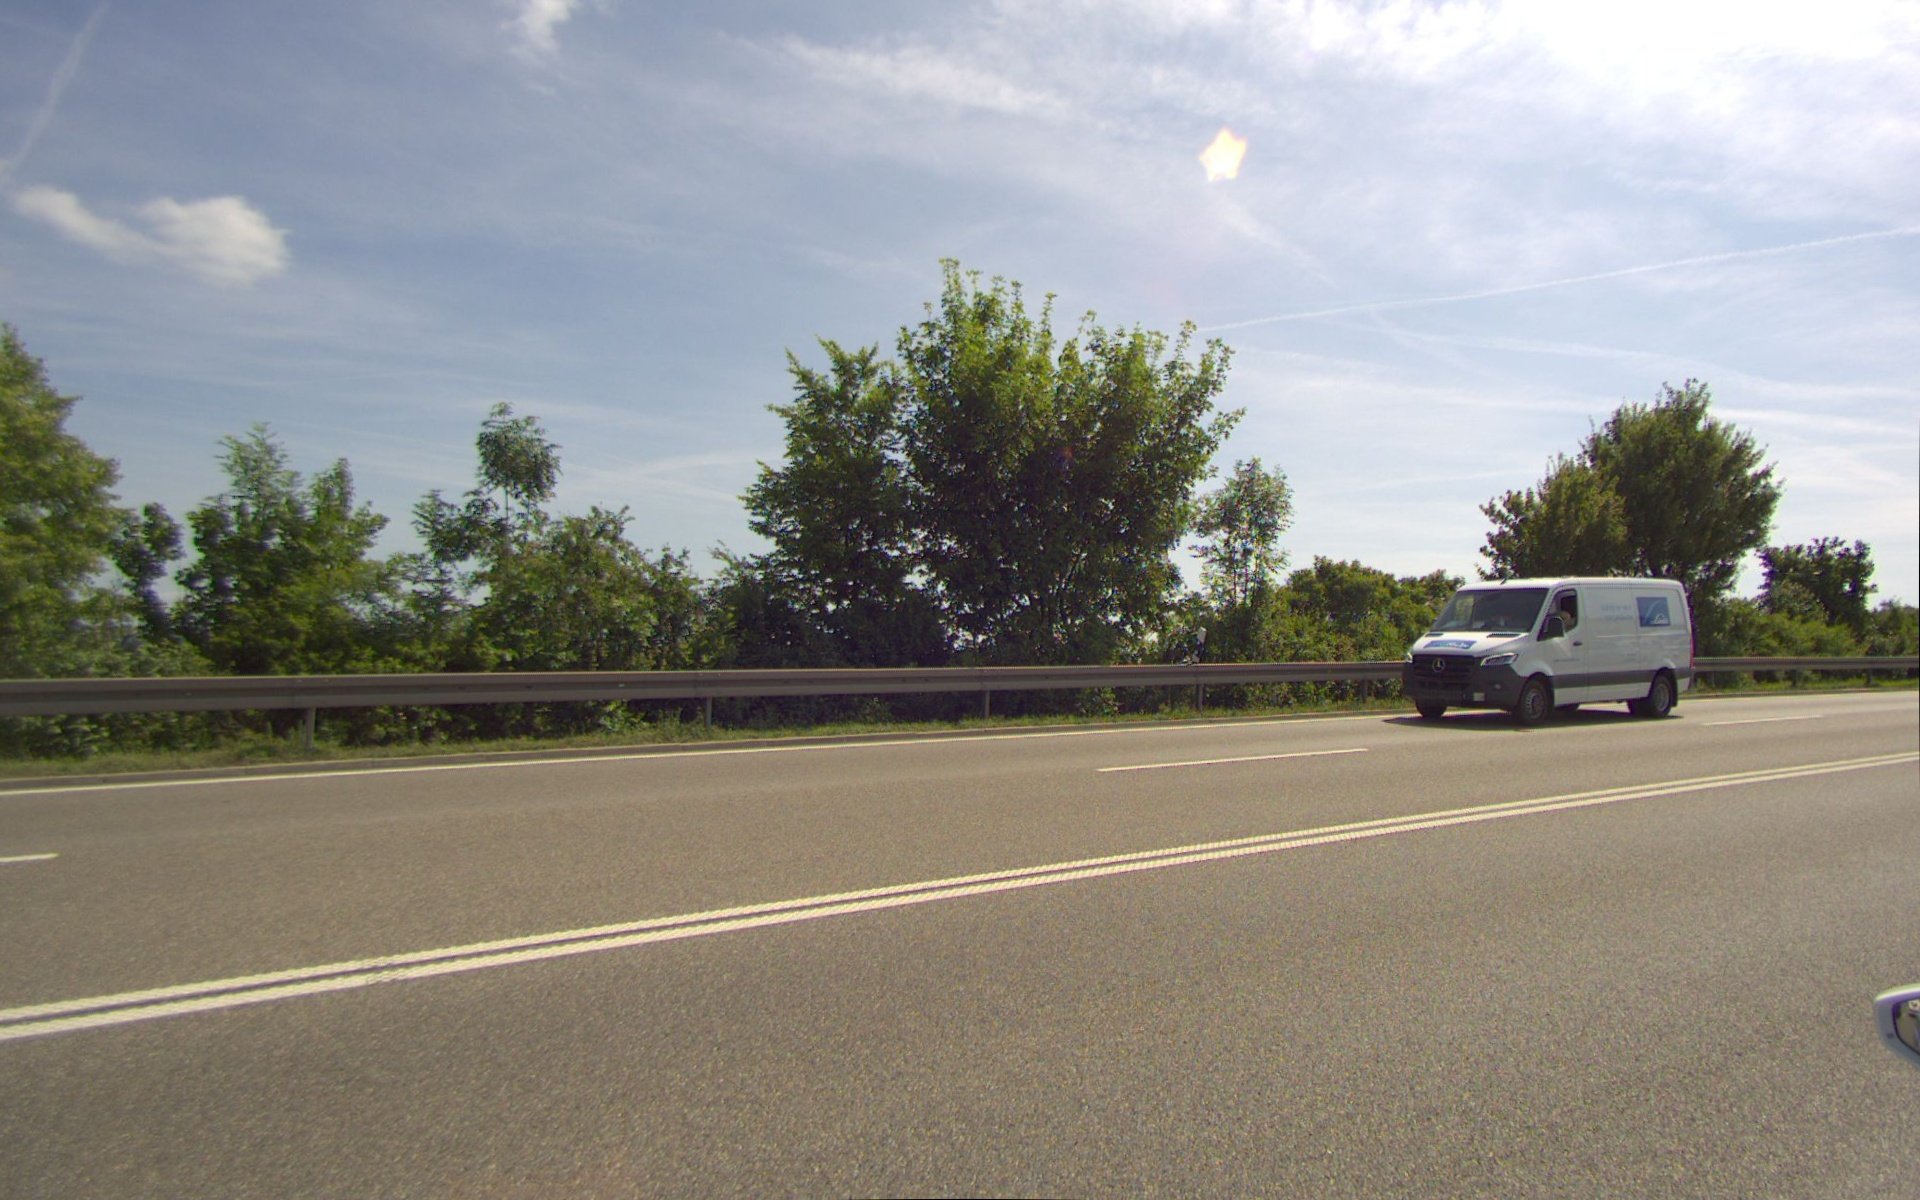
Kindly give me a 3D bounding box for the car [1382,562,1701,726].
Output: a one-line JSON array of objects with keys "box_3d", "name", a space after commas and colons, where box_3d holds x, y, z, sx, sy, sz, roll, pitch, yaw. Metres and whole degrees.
[{"box_3d": [10.009, 0.723, 17.158, 5.773, 2.426, 2.079, 1, -1, -29], "name": "car"}]
